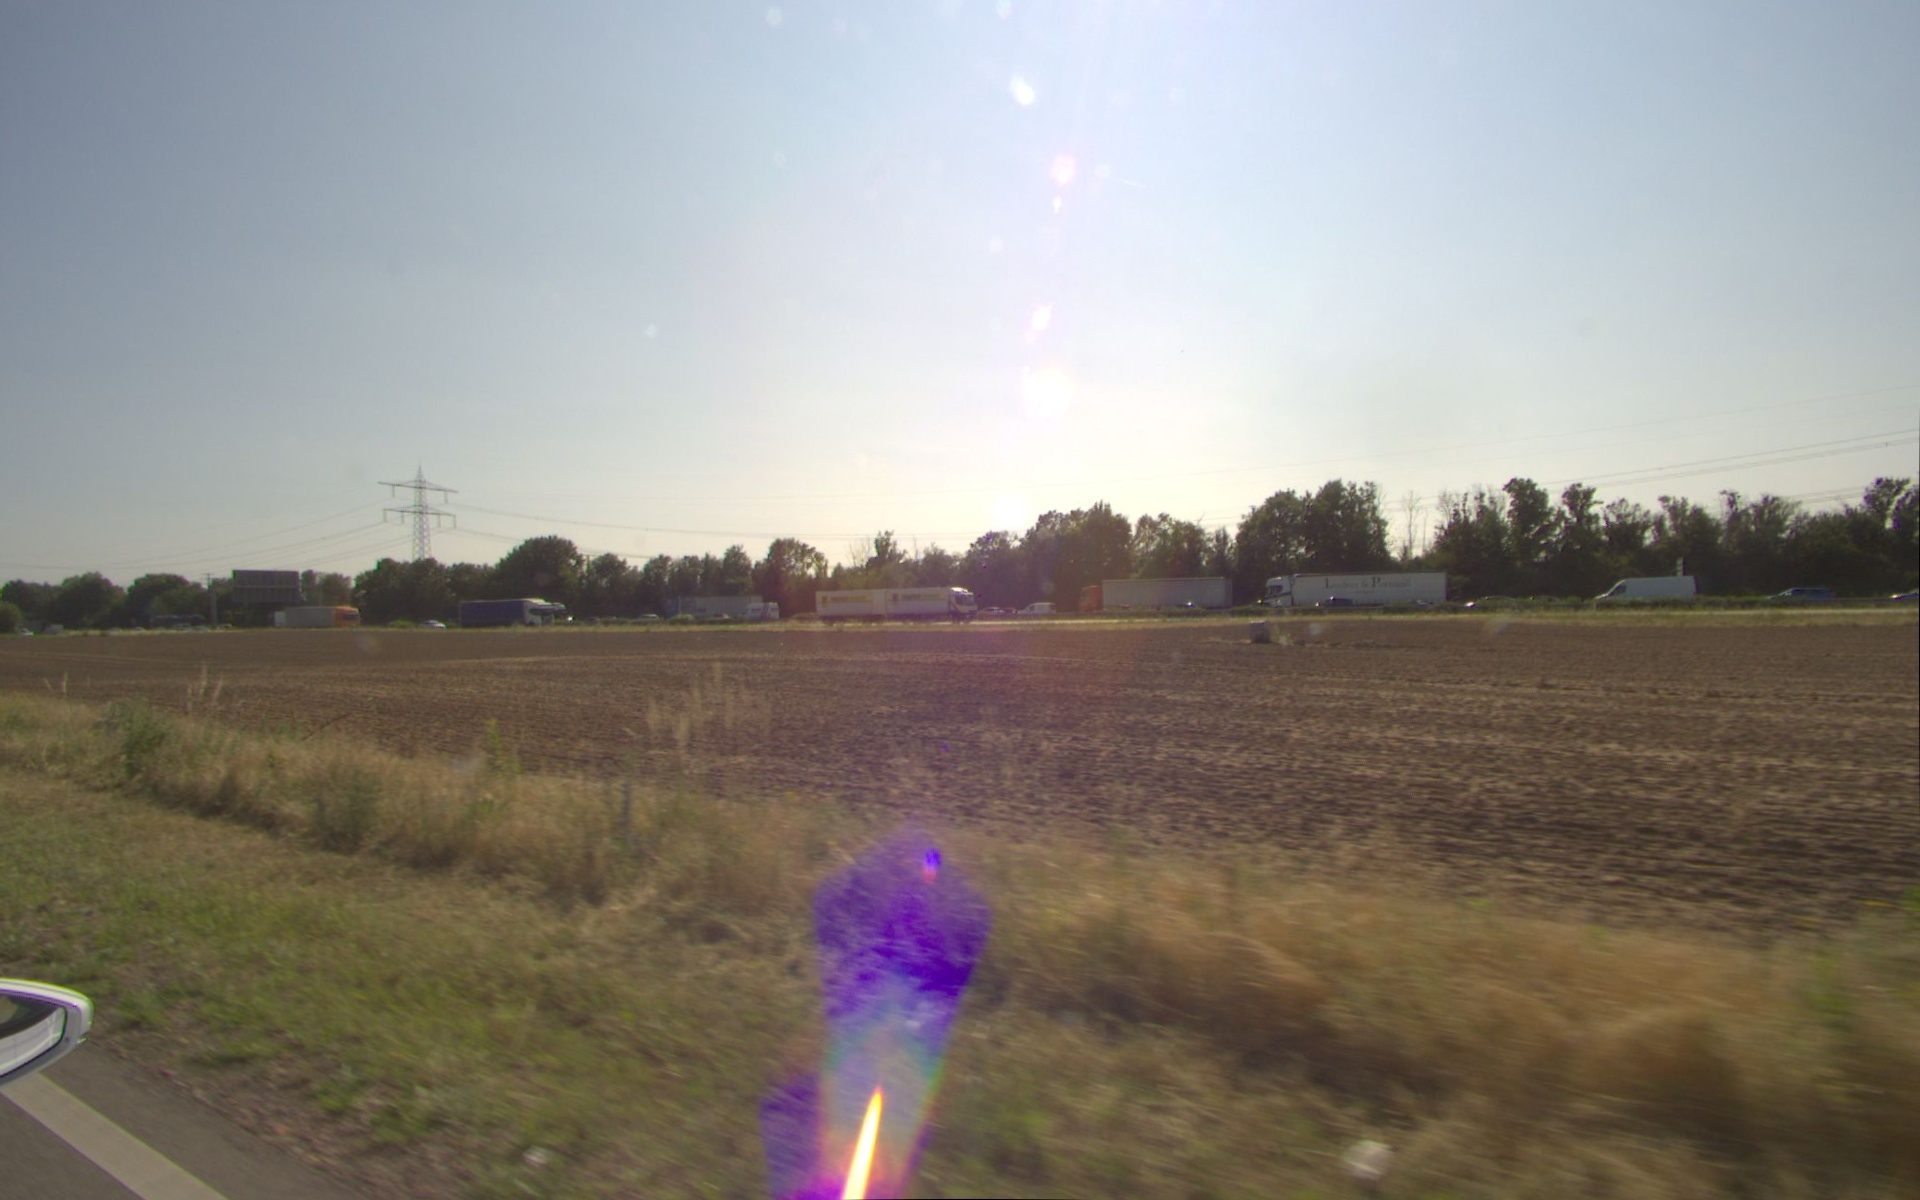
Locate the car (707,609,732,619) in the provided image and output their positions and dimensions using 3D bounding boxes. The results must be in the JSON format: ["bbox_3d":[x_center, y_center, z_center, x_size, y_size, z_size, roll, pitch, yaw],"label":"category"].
[{"bbox_3d":[-31.332,1.821,130.261,3.134,1.166,1.393,-1,-1,31],"label":"car"}]

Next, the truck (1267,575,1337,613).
[{"bbox_3d":[33.702,-0.601,98.610,6.018,3.578,3.197,-1,1,30],"label":"truck"}]

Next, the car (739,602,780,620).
[{"bbox_3d":[-25.363,1.443,126.731,5.160,2.228,1.902,-1,-1,31],"label":"car"}]

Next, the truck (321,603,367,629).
[{"bbox_3d":[-94.634,2.413,153.841,6.846,3.899,3.100,-1,-1,30],"label":"truck"}]

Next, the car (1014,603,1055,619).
[{"bbox_3d":[7.970,1.183,106.790,4.033,1.659,1.701,-1,-2,30],"label":"car"}]

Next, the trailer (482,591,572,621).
[{"bbox_3d":[-69.599,0.982,160.645,17.298,4.512,3.417,-1,0,29],"label":"trailer"}]

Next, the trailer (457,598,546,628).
[{"bbox_3d":[-61.517,1.682,134.095,14.370,3.852,3.068,0,0,30],"label":"trailer"}]

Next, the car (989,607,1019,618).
[{"bbox_3d":[5.123,1.429,116.300,3.243,1.234,1.339,-1,-2,30],"label":"car"}]

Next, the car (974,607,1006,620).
[{"bbox_3d":[3.278,1.478,110.503,3.242,1.300,1.339,-1,-2,29],"label":"car"}]

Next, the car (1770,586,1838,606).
[{"bbox_3d":[62.210,-0.268,73.855,3.606,1.324,1.339,-1,-1,29],"label":"car"}]

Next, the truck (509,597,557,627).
[{"bbox_3d":[-55.702,1.562,130.768,5.526,3.852,3.068,0,0,29],"label":"truck"}]

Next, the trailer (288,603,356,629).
[{"bbox_3d":[-100.072,2.515,156.955,13.512,3.899,3.099,-1,-1,30],"label":"trailer"}]

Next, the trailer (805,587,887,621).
[{"bbox_3d":[-11.946,0.456,104.852,8.589,3.460,2.789,-1,0,30],"label":"trailer"}]

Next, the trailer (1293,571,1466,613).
[{"bbox_3d":[39.611,-0.730,95.105,14.860,3.578,3.197,-1,1,31],"label":"trailer"}]

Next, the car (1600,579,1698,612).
[{"bbox_3d":[54.862,-0.330,79.939,6.321,2.479,2.034,-1,-1,32],"label":"car"}]

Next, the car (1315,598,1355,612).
[{"bbox_3d":[33.887,0.446,90.553,3.242,1.235,1.339,-1,0,29],"label":"car"}]

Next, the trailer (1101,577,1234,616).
[{"bbox_3d":[21.743,-0.251,105.814,13.580,3.782,2.941,-1,-1,31],"label":"trailer"}]

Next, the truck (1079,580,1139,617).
[{"bbox_3d":[16.210,-0.117,109.185,5.783,3.782,2.941,-1,0,31],"label":"truck"}]

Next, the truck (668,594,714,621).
[{"bbox_3d":[-38.065,1.086,141.495,5.999,3.783,3.066,0,0,32],"label":"truck"}]

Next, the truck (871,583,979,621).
[{"bbox_3d":[-3.569,0.217,99.912,10.956,3.524,2.801,-1,0,30],"label":"truck"}]

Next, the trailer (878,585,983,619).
[{"bbox_3d":[-3.712,0.268,120.713,13.174,3.782,3.066,-1,-1,32],"label":"trailer"}]

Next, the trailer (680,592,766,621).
[{"bbox_3d":[-32.861,0.916,138.198,13.433,3.783,3.066,0,0,32],"label":"trailer"}]
